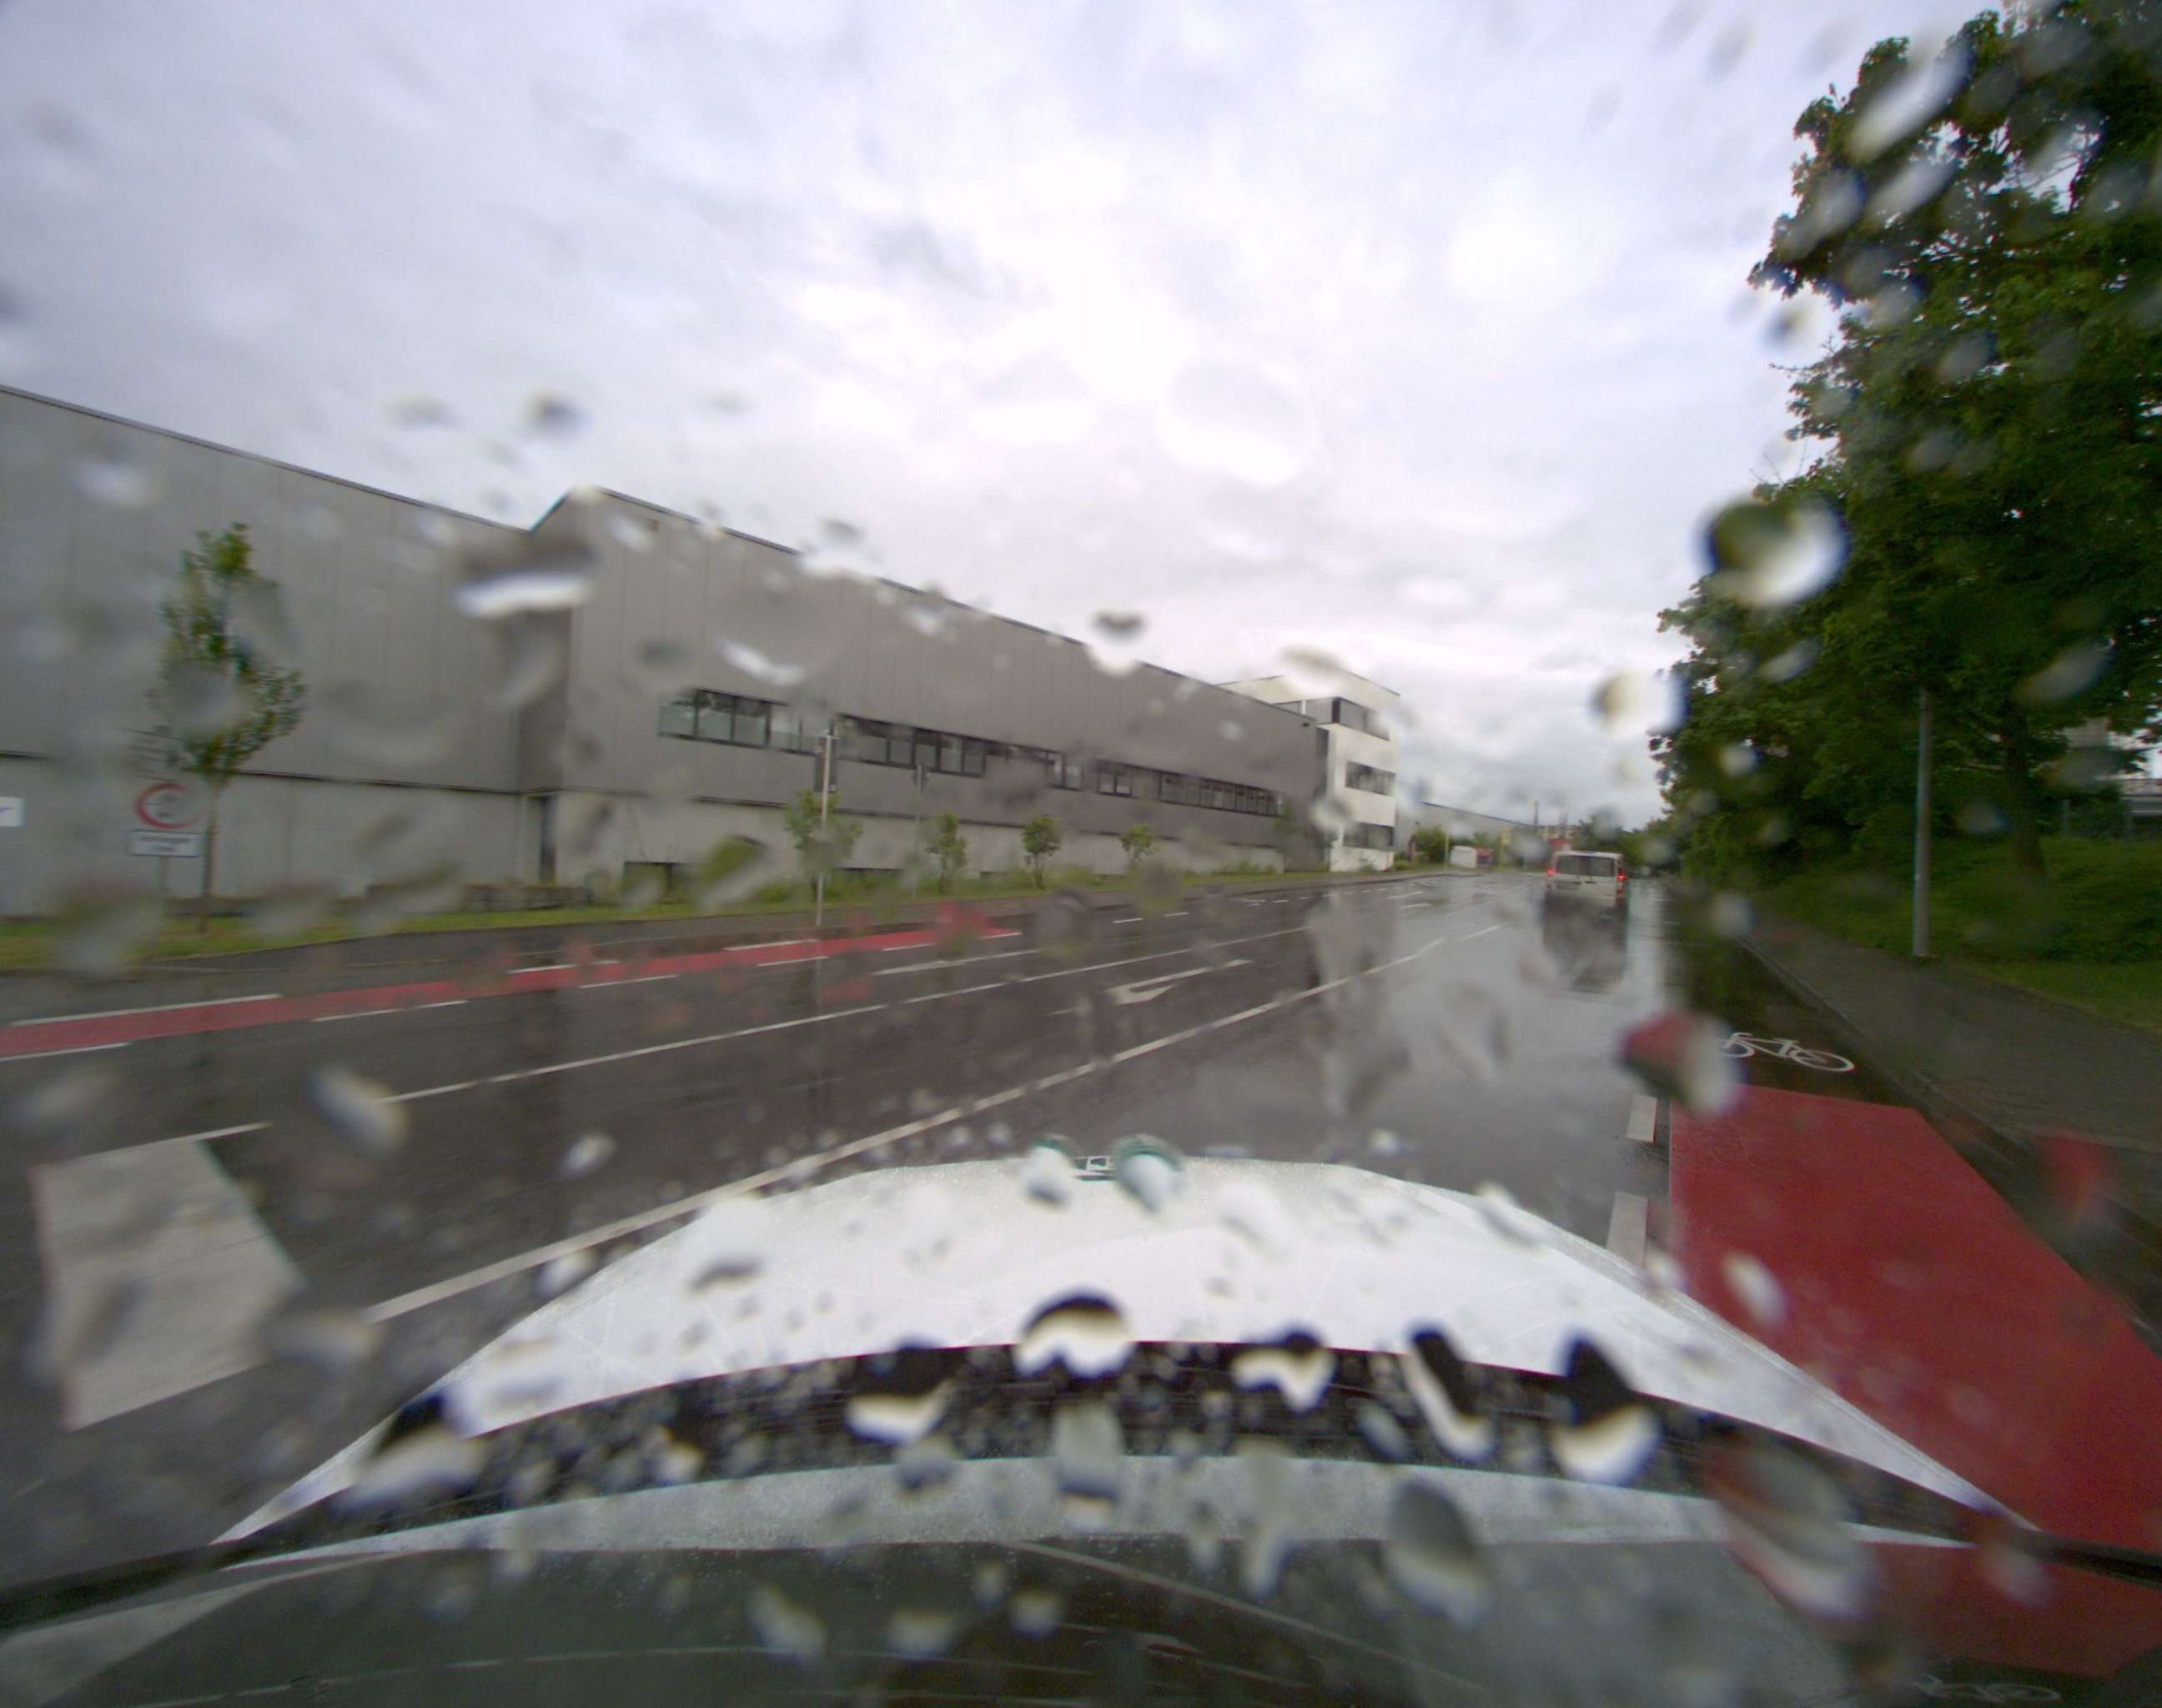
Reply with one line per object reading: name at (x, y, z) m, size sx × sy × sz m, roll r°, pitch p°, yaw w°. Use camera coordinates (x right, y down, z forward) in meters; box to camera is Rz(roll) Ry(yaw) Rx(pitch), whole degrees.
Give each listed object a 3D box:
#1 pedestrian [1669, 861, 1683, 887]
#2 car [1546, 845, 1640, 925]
pedestrian at (44.227, 1.458, 60.519) m, size 0.769 × 1.907 × 0.733 m, roll -1°, pitch -3°, yaw 35°
car at (14.740, 0.818, 23.290) m, size 1.880 × 2.018 × 5.406 m, roll 0°, pitch -1°, yaw 36°
